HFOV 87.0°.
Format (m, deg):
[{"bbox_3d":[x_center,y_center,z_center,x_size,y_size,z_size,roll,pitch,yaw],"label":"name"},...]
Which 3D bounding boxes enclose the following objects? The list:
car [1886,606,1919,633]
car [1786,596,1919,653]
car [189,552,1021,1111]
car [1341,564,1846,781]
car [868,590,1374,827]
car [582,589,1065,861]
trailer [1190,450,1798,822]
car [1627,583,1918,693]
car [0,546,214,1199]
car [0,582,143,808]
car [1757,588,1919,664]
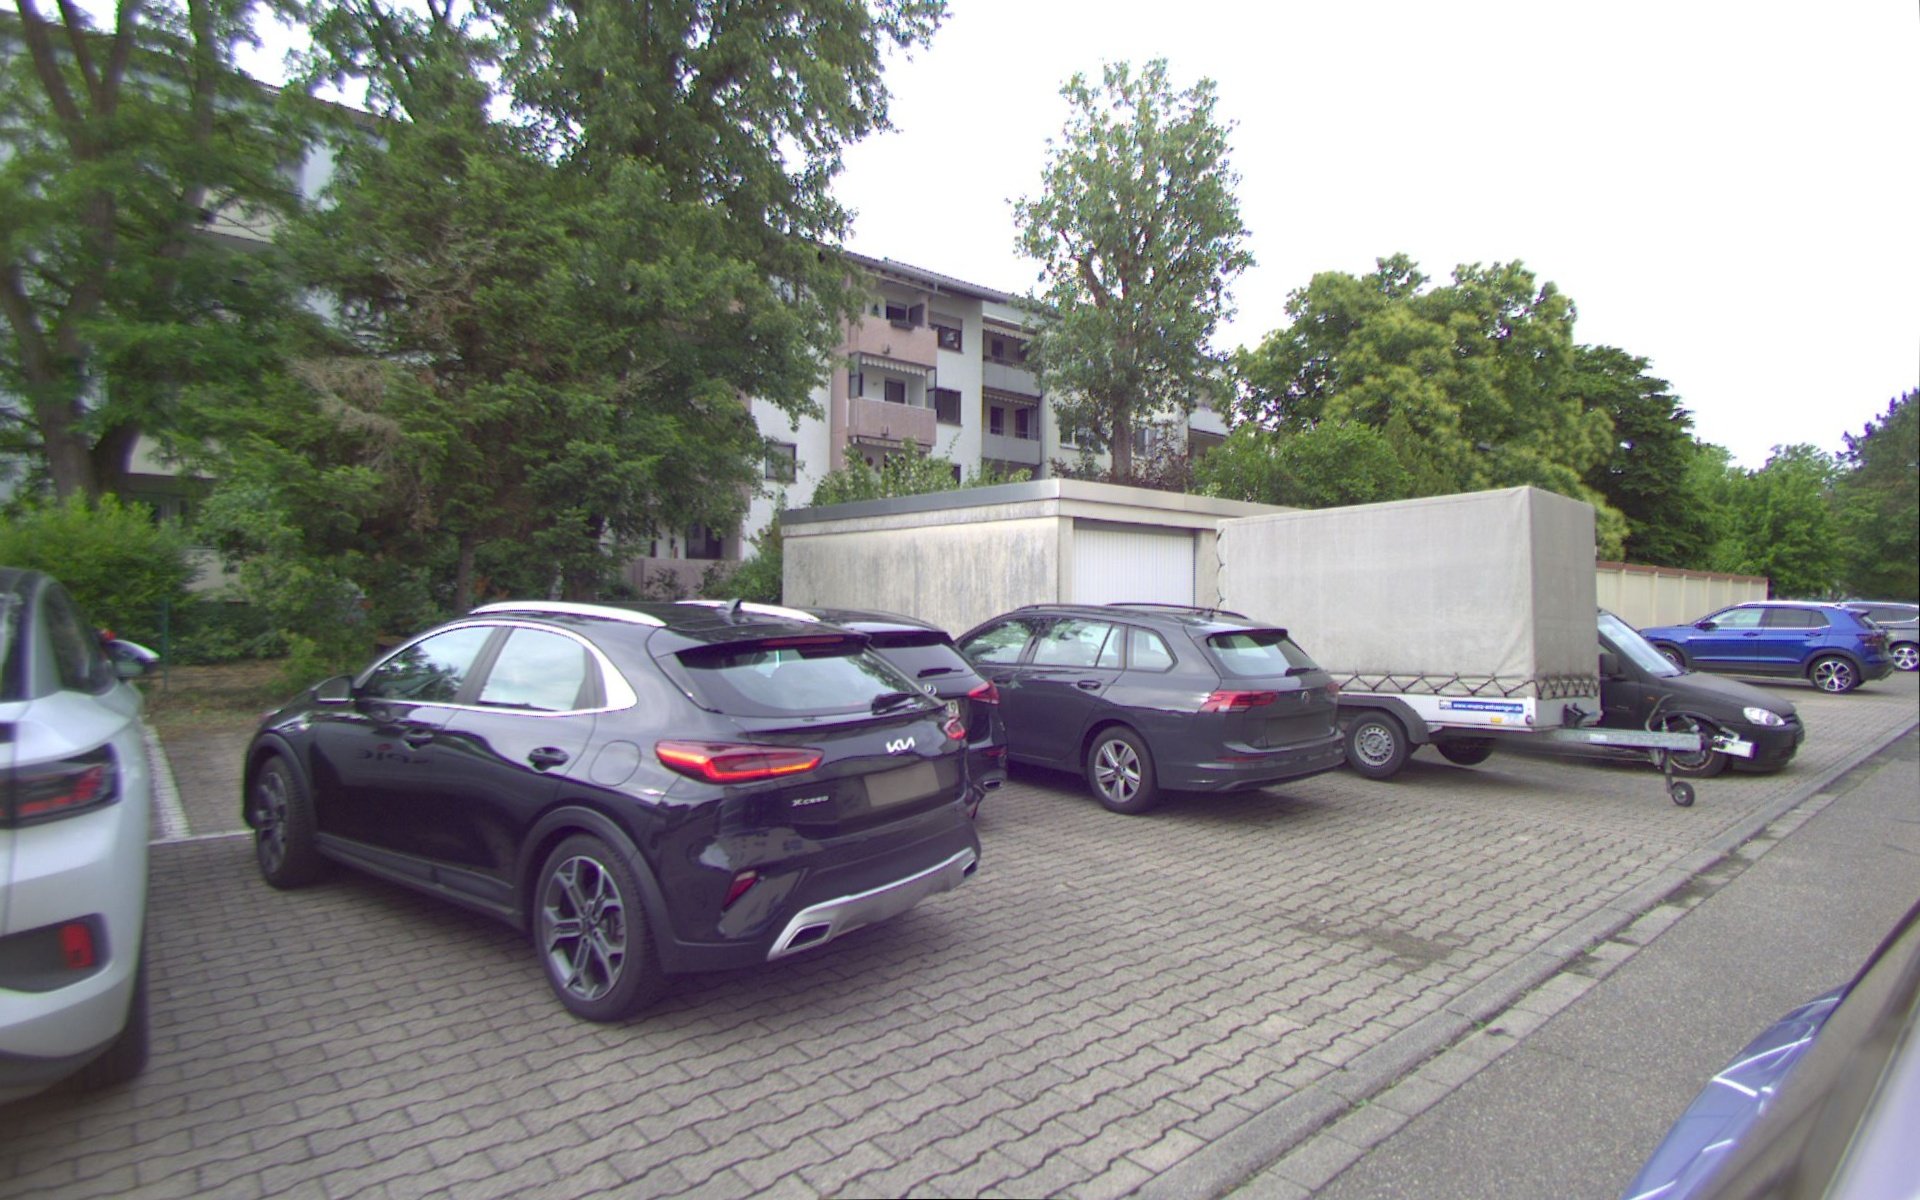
[{"bbox_3d":[56.307,1.146,58.402,1.757,1.504,4.099,1,1,-42],"label":"car"},{"bbox_3d":[29.627,0.789,32.665,1.902,1.605,4.296,1,2,-42],"label":"car"},{"bbox_3d":[-1.915,0.621,4.957,3.978,1.571,1.973,3,2,37],"label":"car"},{"bbox_3d":[6.770,0.590,11.205,1.965,1.824,4.319,1,2,-41],"label":"car"},{"bbox_3d":[1.092,0.674,8.475,1.584,1.467,4.134,1,0,-41],"label":"car"},{"bbox_3d":[-1.275,0.675,7.716,1.880,1.467,4.006,1,0,-38],"label":"car"},{"bbox_3d":[4.594,0.247,9.356,1.908,2.557,4.617,1,-1,-40],"label":"trailer"},{"bbox_3d":[15.309,0.629,19.220,1.965,1.724,3.994,1,2,-41],"label":"car"},{"bbox_3d":[-4.014,0.654,3.615,1.952,1.609,4.547,1,0,-39],"label":"car"},{"bbox_3d":[-7.408,0.560,7.519,1.937,1.398,3.904,1,0,-41],"label":"car"},{"bbox_3d":[23.886,0.665,26.662,1.965,1.749,4.203,1,2,-41],"label":"car"}]
